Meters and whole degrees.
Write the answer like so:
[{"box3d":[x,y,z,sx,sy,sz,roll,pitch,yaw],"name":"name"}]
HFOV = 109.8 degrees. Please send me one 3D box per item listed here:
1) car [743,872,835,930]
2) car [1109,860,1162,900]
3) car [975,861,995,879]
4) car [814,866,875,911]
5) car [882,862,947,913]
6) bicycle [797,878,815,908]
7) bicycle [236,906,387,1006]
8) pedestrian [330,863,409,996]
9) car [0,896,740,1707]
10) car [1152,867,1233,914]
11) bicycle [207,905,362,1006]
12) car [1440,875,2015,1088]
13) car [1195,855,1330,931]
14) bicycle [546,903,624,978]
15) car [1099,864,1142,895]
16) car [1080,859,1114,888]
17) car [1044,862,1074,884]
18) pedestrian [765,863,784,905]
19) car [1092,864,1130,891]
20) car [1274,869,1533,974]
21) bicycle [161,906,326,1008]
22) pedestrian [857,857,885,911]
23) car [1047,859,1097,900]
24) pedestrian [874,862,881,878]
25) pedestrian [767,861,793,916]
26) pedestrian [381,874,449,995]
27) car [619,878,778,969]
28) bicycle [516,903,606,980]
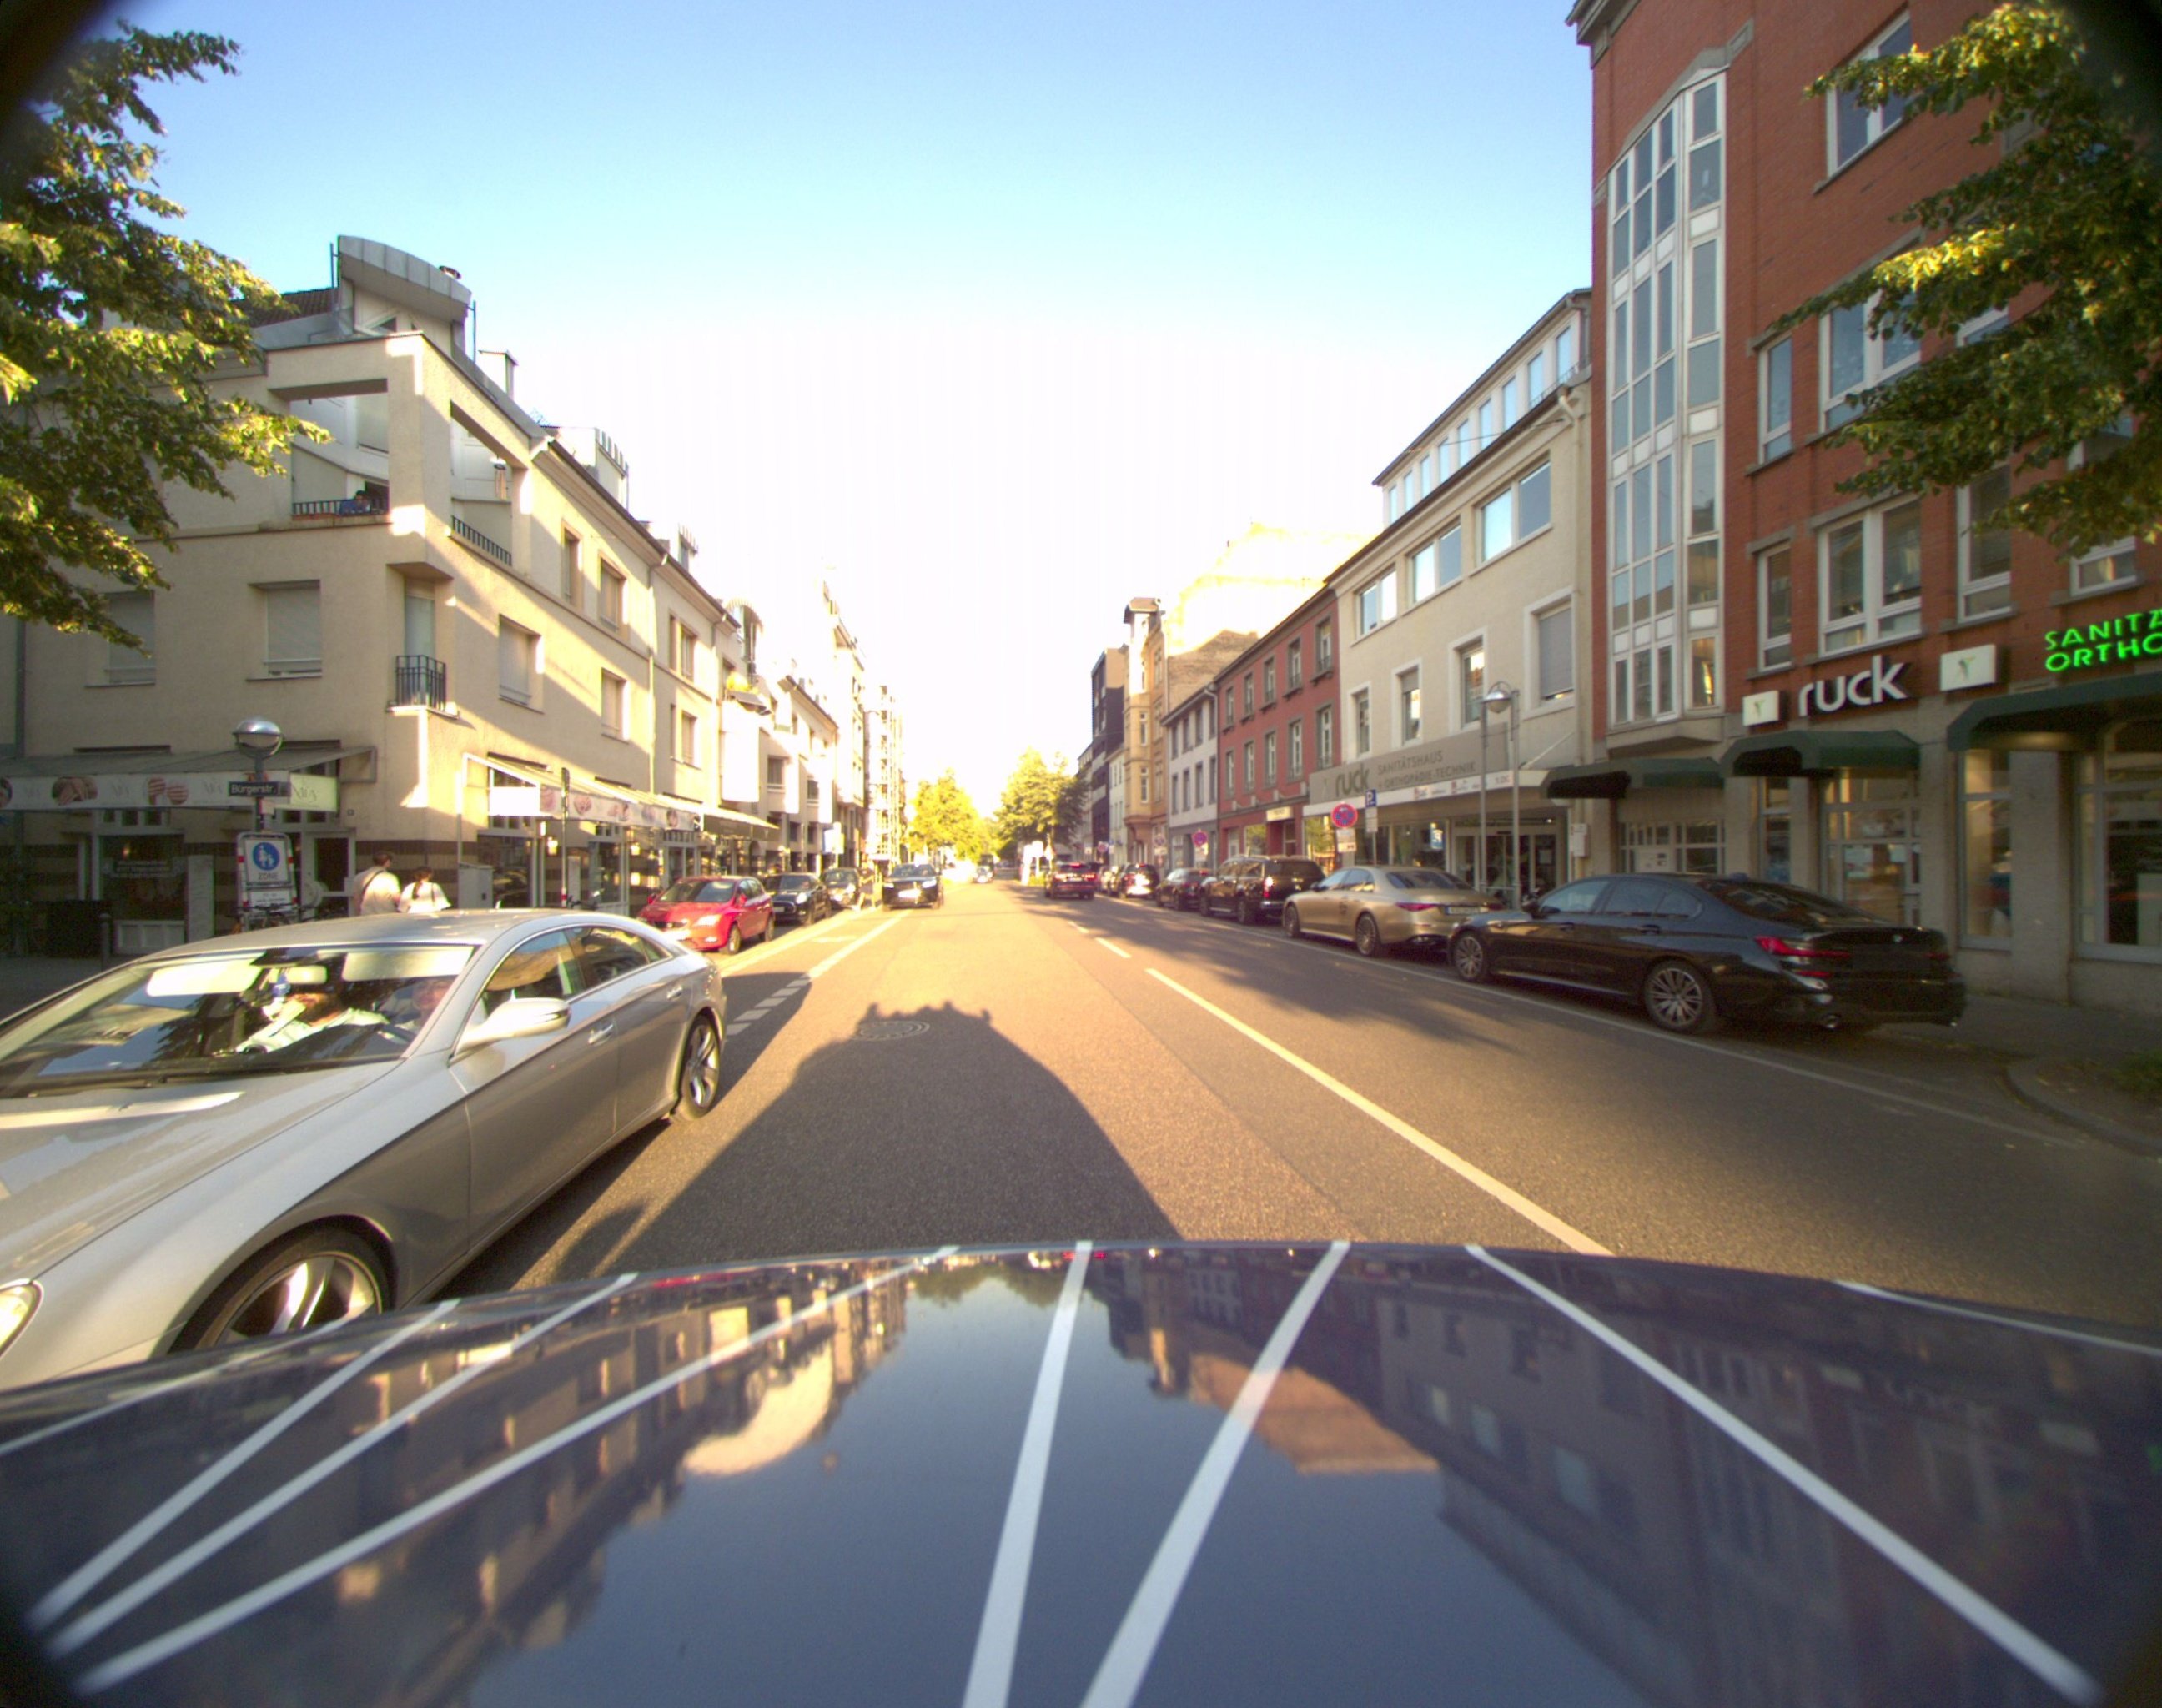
[{"box3d":[-8.233,1.271,21.763,1.622,1.425,3.923,0,0,-8],"name":"car"},{"box3d":[2.460,1.162,35.073,1.726,1.673,4.047,2,-1,-6],"name":"car"},{"box3d":[-8.244,1.379,65.359,1.623,1.465,3.686,-2,0,-8],"name":"car"},{"box3d":[-9.036,1.260,29.240,1.622,1.583,3.923,-1,0,-8],"name":"car"},{"box3d":[-5.932,1.127,27.482,1.891,1.626,4.224,-2,0,-8],"name":"car"},{"box3d":[-10.656,1.510,29.493,0.296,1.079,1.462,-1,0,-7],"name":"bicycle"},{"box3d":[-10.292,1.313,10.259,0.322,1.098,1.878,-1,0,-7],"name":"bicycle"},{"box3d":[-9.621,1.008,10.289,0.545,1.748,0.502,2,0,-8],"name":"pedestrian"},{"box3d":[-3.019,1.059,3.042,1.748,1.393,4.635,-2,1,-8],"name":"car"},{"box3d":[3.778,1.212,26.449,1.707,1.429,4.011,2,-1,-8],"name":"car"},{"box3d":[-10.614,1.306,10.223,0.291,1.098,1.886,-1,0,-7],"name":"bicycle"},{"box3d":[5.891,1.012,7.876,1.726,1.464,4.538,2,-1,-7],"name":"car"},{"box3d":[4.651,0.948,20.339,1.726,1.768,4.935,1,-1,-9],"name":"car"},{"box3d":[-8.056,1.370,12.405,0.315,1.040,1.664,0,0,-5],"name":"bicycle"},{"box3d":[2.019,1.295,39.974,1.690,1.461,3.689,2,-1,-6],"name":"car"},{"box3d":[0.954,1.205,47.968,1.674,1.763,3.563,2,-1,-6],"name":"car"},{"box3d":[-1.619,1.352,54.873,1.674,1.512,3.562,1,0,-8],"name":"car"},{"box3d":[-13.162,1.276,32.634,0.576,1.789,0.450,-2,1,-7],"name":"pedestrian"},{"box3d":[1.672,1.315,44.066,1.674,1.448,3.563,2,-1,-6],"name":"car"},{"box3d":[5.333,1.035,13.528,2.000,1.463,5.104,1,-1,-6],"name":"car"},{"box3d":[-11.081,1.315,10.150,0.322,1.098,1.878,-1,0,-7],"name":"bicycle"},{"box3d":[-7.592,1.081,27.495,0.779,1.872,0.669,-4,1,-8],"name":"pedestrian"},{"box3d":[-0.473,1.100,33.632,1.736,1.665,4.293,-1,-1,-7],"name":"car"},{"box3d":[-16.626,1.310,62.016,0.492,1.256,0.421,-2,1,-7],"name":"pedestrian"},{"box3d":[-9.717,1.100,24.512,0.631,1.739,0.669,0,0,-8],"name":"pedestrian"},{"box3d":[-9.040,1.082,10.325,0.521,1.583,0.408,2,0,-8],"name":"pedestrian"},{"box3d":[-7.201,1.223,14.738,1.594,1.425,3.923,0,0,-8],"name":"car"},{"box3d":[-8.392,1.373,12.336,0.315,1.040,1.881,0,0,-5],"name":"bicycle"}]
